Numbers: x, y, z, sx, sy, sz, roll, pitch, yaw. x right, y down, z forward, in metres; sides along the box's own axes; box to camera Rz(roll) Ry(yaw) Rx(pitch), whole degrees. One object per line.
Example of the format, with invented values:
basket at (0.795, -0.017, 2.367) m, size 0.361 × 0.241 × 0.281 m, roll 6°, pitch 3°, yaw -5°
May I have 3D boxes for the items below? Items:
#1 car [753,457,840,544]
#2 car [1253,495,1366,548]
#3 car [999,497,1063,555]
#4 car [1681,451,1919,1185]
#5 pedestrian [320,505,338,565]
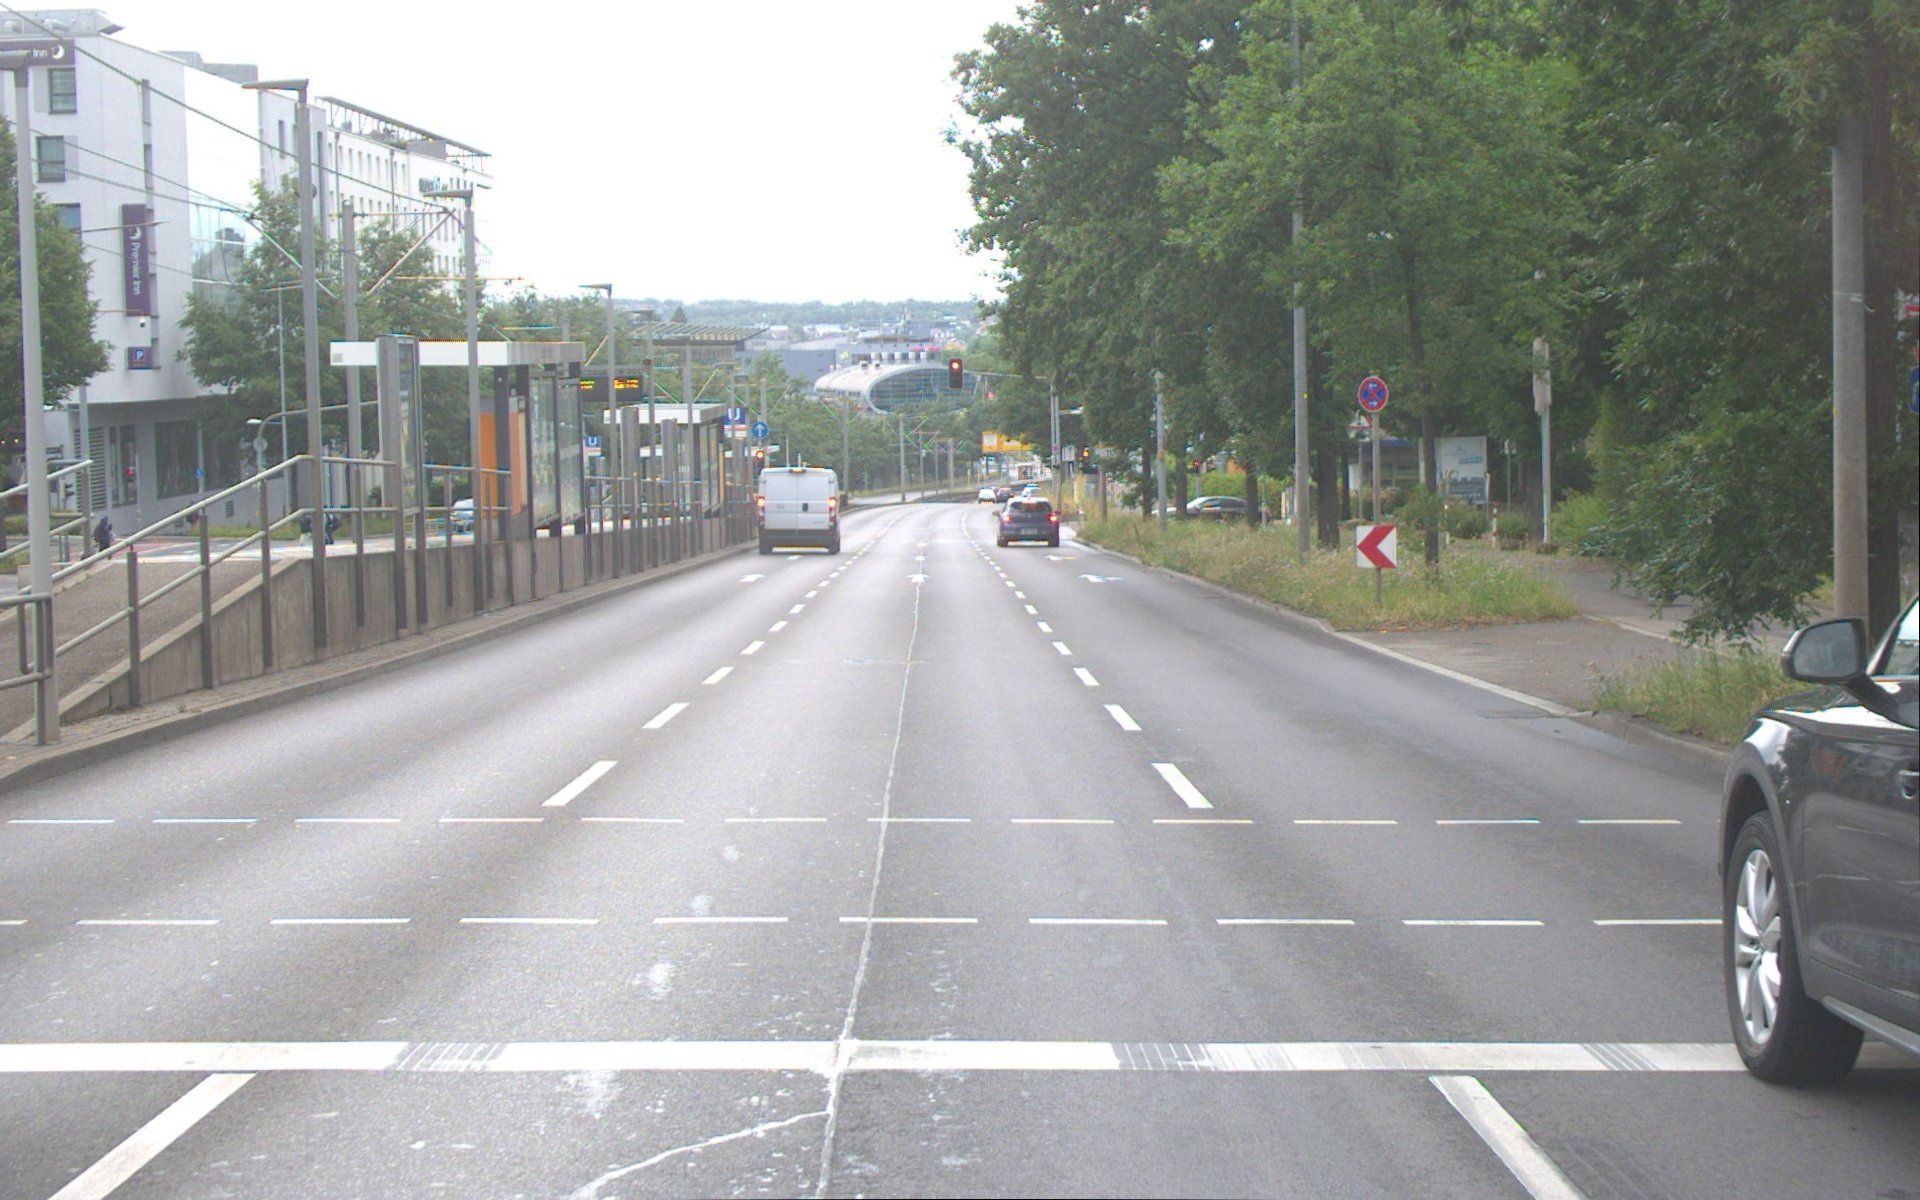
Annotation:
car at (-4.272, -2.647, 90.414) m, size 2.093 × 2.046 × 4.608 m, roll 0°, pitch 5°, yaw 0°
car at (13.398, -3.004, 131.865) m, size 3.986 × 2.007 × 1.760 m, roll 0°, pitch 1°, yaw -8°
car at (2.090, -2.212, 101.847) m, size 1.774 × 1.685 × 3.846 m, roll 0°, pitch 2°, yaw 0°
car at (3.011, 0.475, 7.641) m, size 1.817 × 1.607 × 4.471 m, roll 0°, pitch 2°, yaw -1°
pedestrian at (-20.167, -2.079, 109.863) m, size 0.475 × 1.914 × 0.490 m, roll 0°, pitch 2°, yaw -1°
